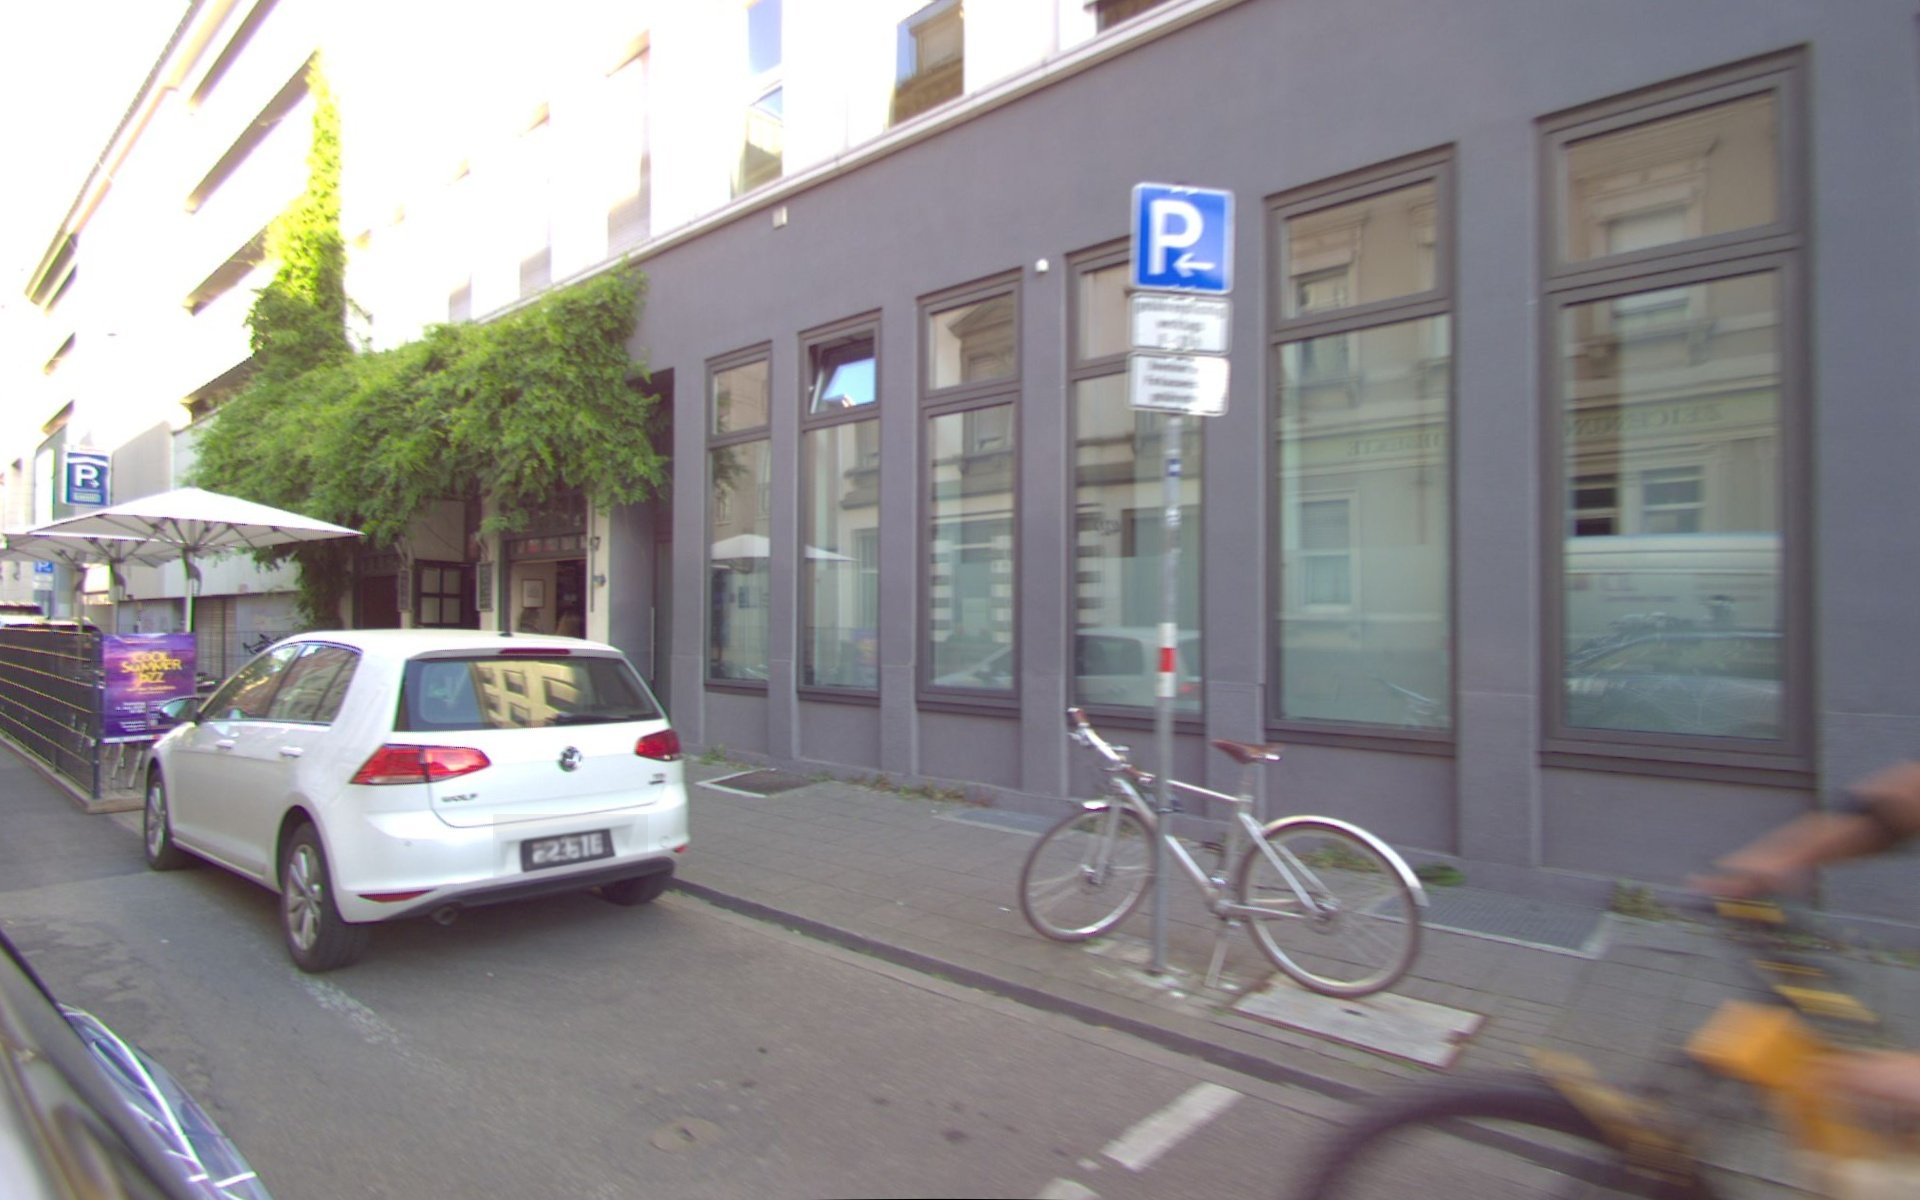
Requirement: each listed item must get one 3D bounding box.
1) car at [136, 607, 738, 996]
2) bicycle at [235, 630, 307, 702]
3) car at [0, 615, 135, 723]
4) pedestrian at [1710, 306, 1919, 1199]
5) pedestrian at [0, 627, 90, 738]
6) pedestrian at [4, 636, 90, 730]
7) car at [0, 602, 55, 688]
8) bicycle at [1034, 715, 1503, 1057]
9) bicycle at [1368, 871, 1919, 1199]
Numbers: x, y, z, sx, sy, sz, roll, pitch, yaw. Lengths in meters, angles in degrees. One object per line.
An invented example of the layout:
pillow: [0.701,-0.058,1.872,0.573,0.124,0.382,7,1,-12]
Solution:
car: [-3.096,0.769,5.627,3.880,1.424,1.640,-1,-1,41]
bicycle: [-11.993,1.117,17.595,1.794,1.169,0.636,-1,-1,43]
car: [-15.518,1.079,16.799,4.766,1.580,1.862,-1,-4,40]
pedestrian: [1.619,0.482,1.141,1.077,1.557,0.824,-1,-1,26]
pedestrian: [-11.322,0.989,12.477,0.915,1.297,0.772,-1,-2,42]
pedestrian: [-11.948,1.067,13.261,0.544,1.174,0.743,1,-2,-16]
car: [-23.898,1.066,24.651,4.846,1.955,1.973,-1,-3,40]
bicycle: [1.114,0.972,3.915,1.644,0.912,0.590,-1,-2,42]
bicycle: [1.552,0.991,1.165,1.970,1.015,0.535,-1,-1,26]
